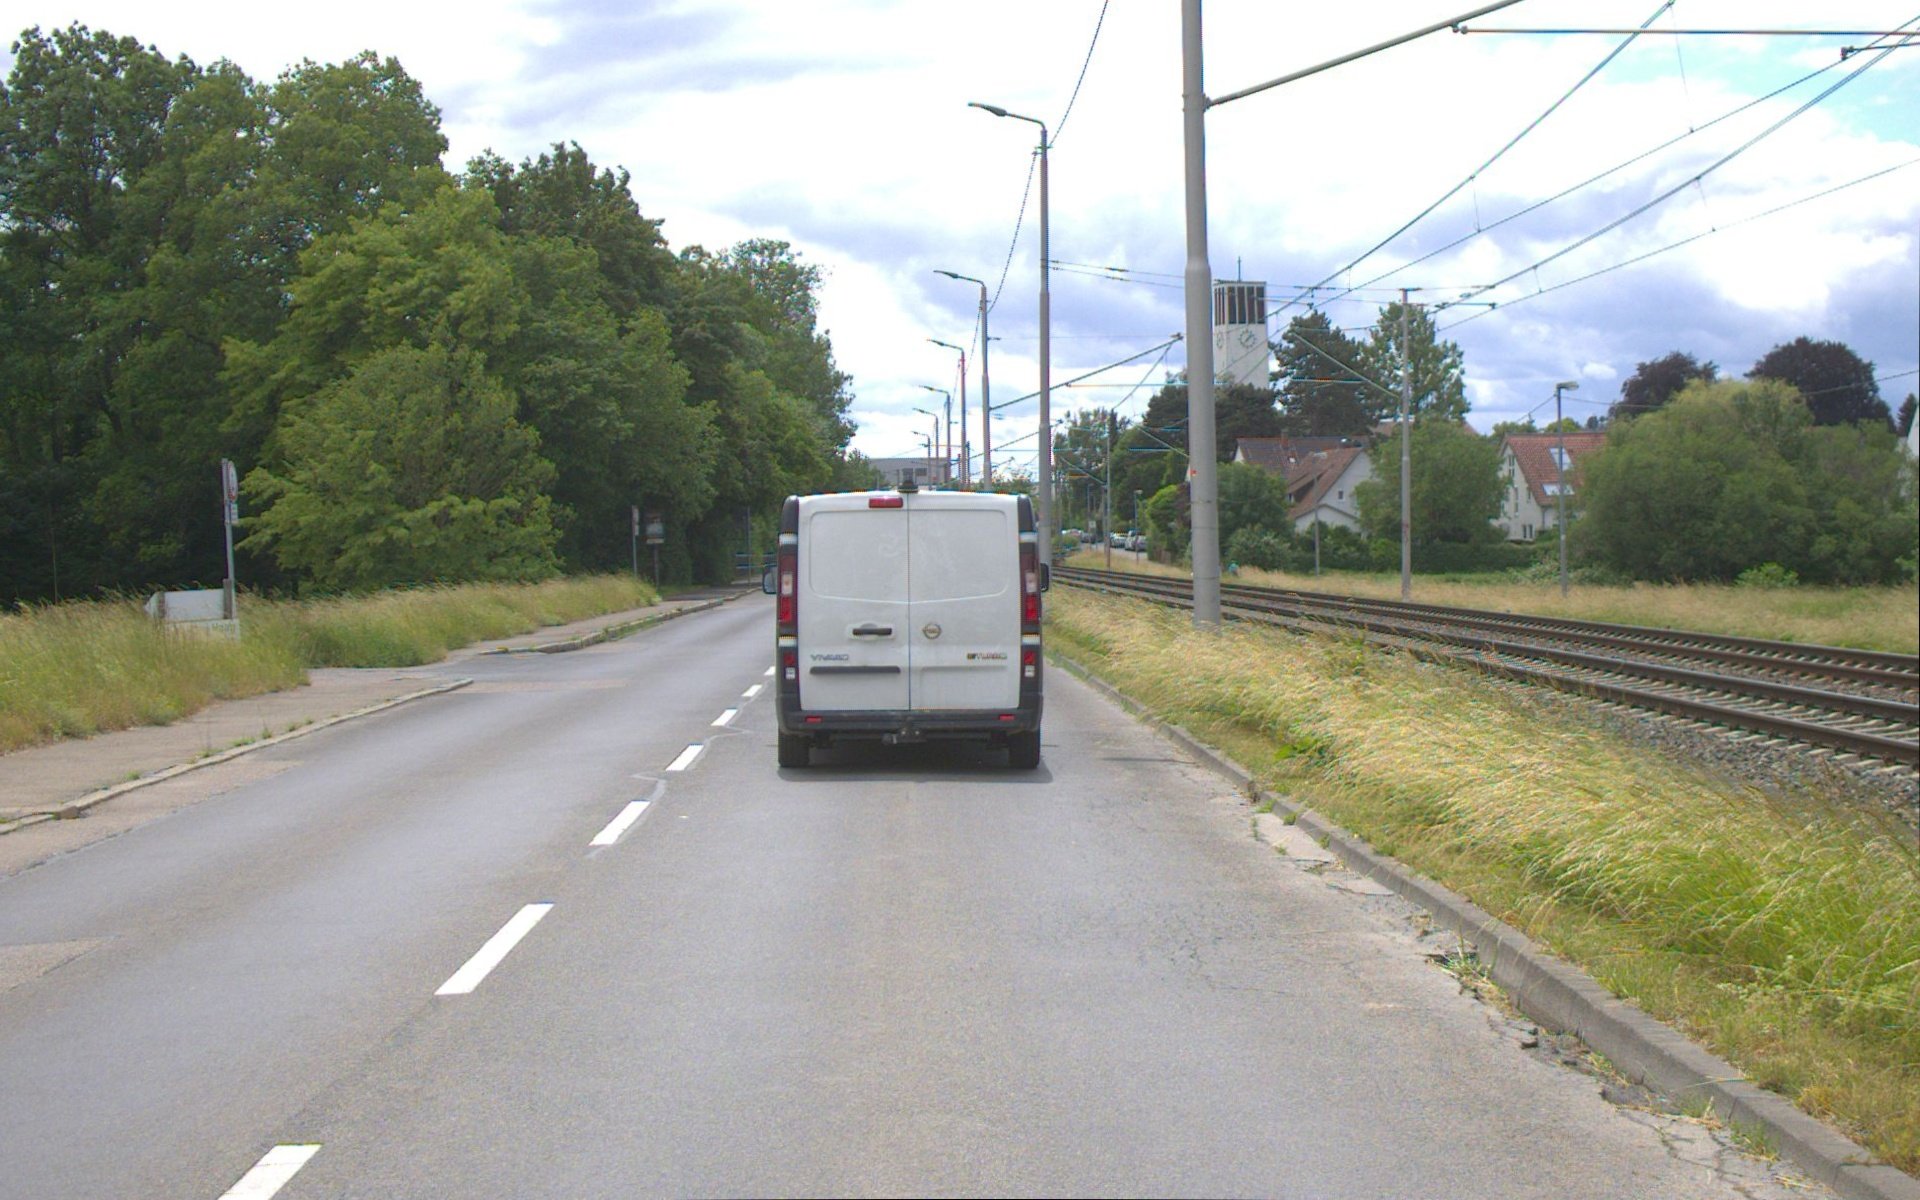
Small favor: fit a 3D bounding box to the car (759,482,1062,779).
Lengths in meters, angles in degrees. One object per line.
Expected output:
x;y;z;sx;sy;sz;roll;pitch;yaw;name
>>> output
-0.407;0.186;25.157;1.993;1.950;4.000;2;0;-2;car
